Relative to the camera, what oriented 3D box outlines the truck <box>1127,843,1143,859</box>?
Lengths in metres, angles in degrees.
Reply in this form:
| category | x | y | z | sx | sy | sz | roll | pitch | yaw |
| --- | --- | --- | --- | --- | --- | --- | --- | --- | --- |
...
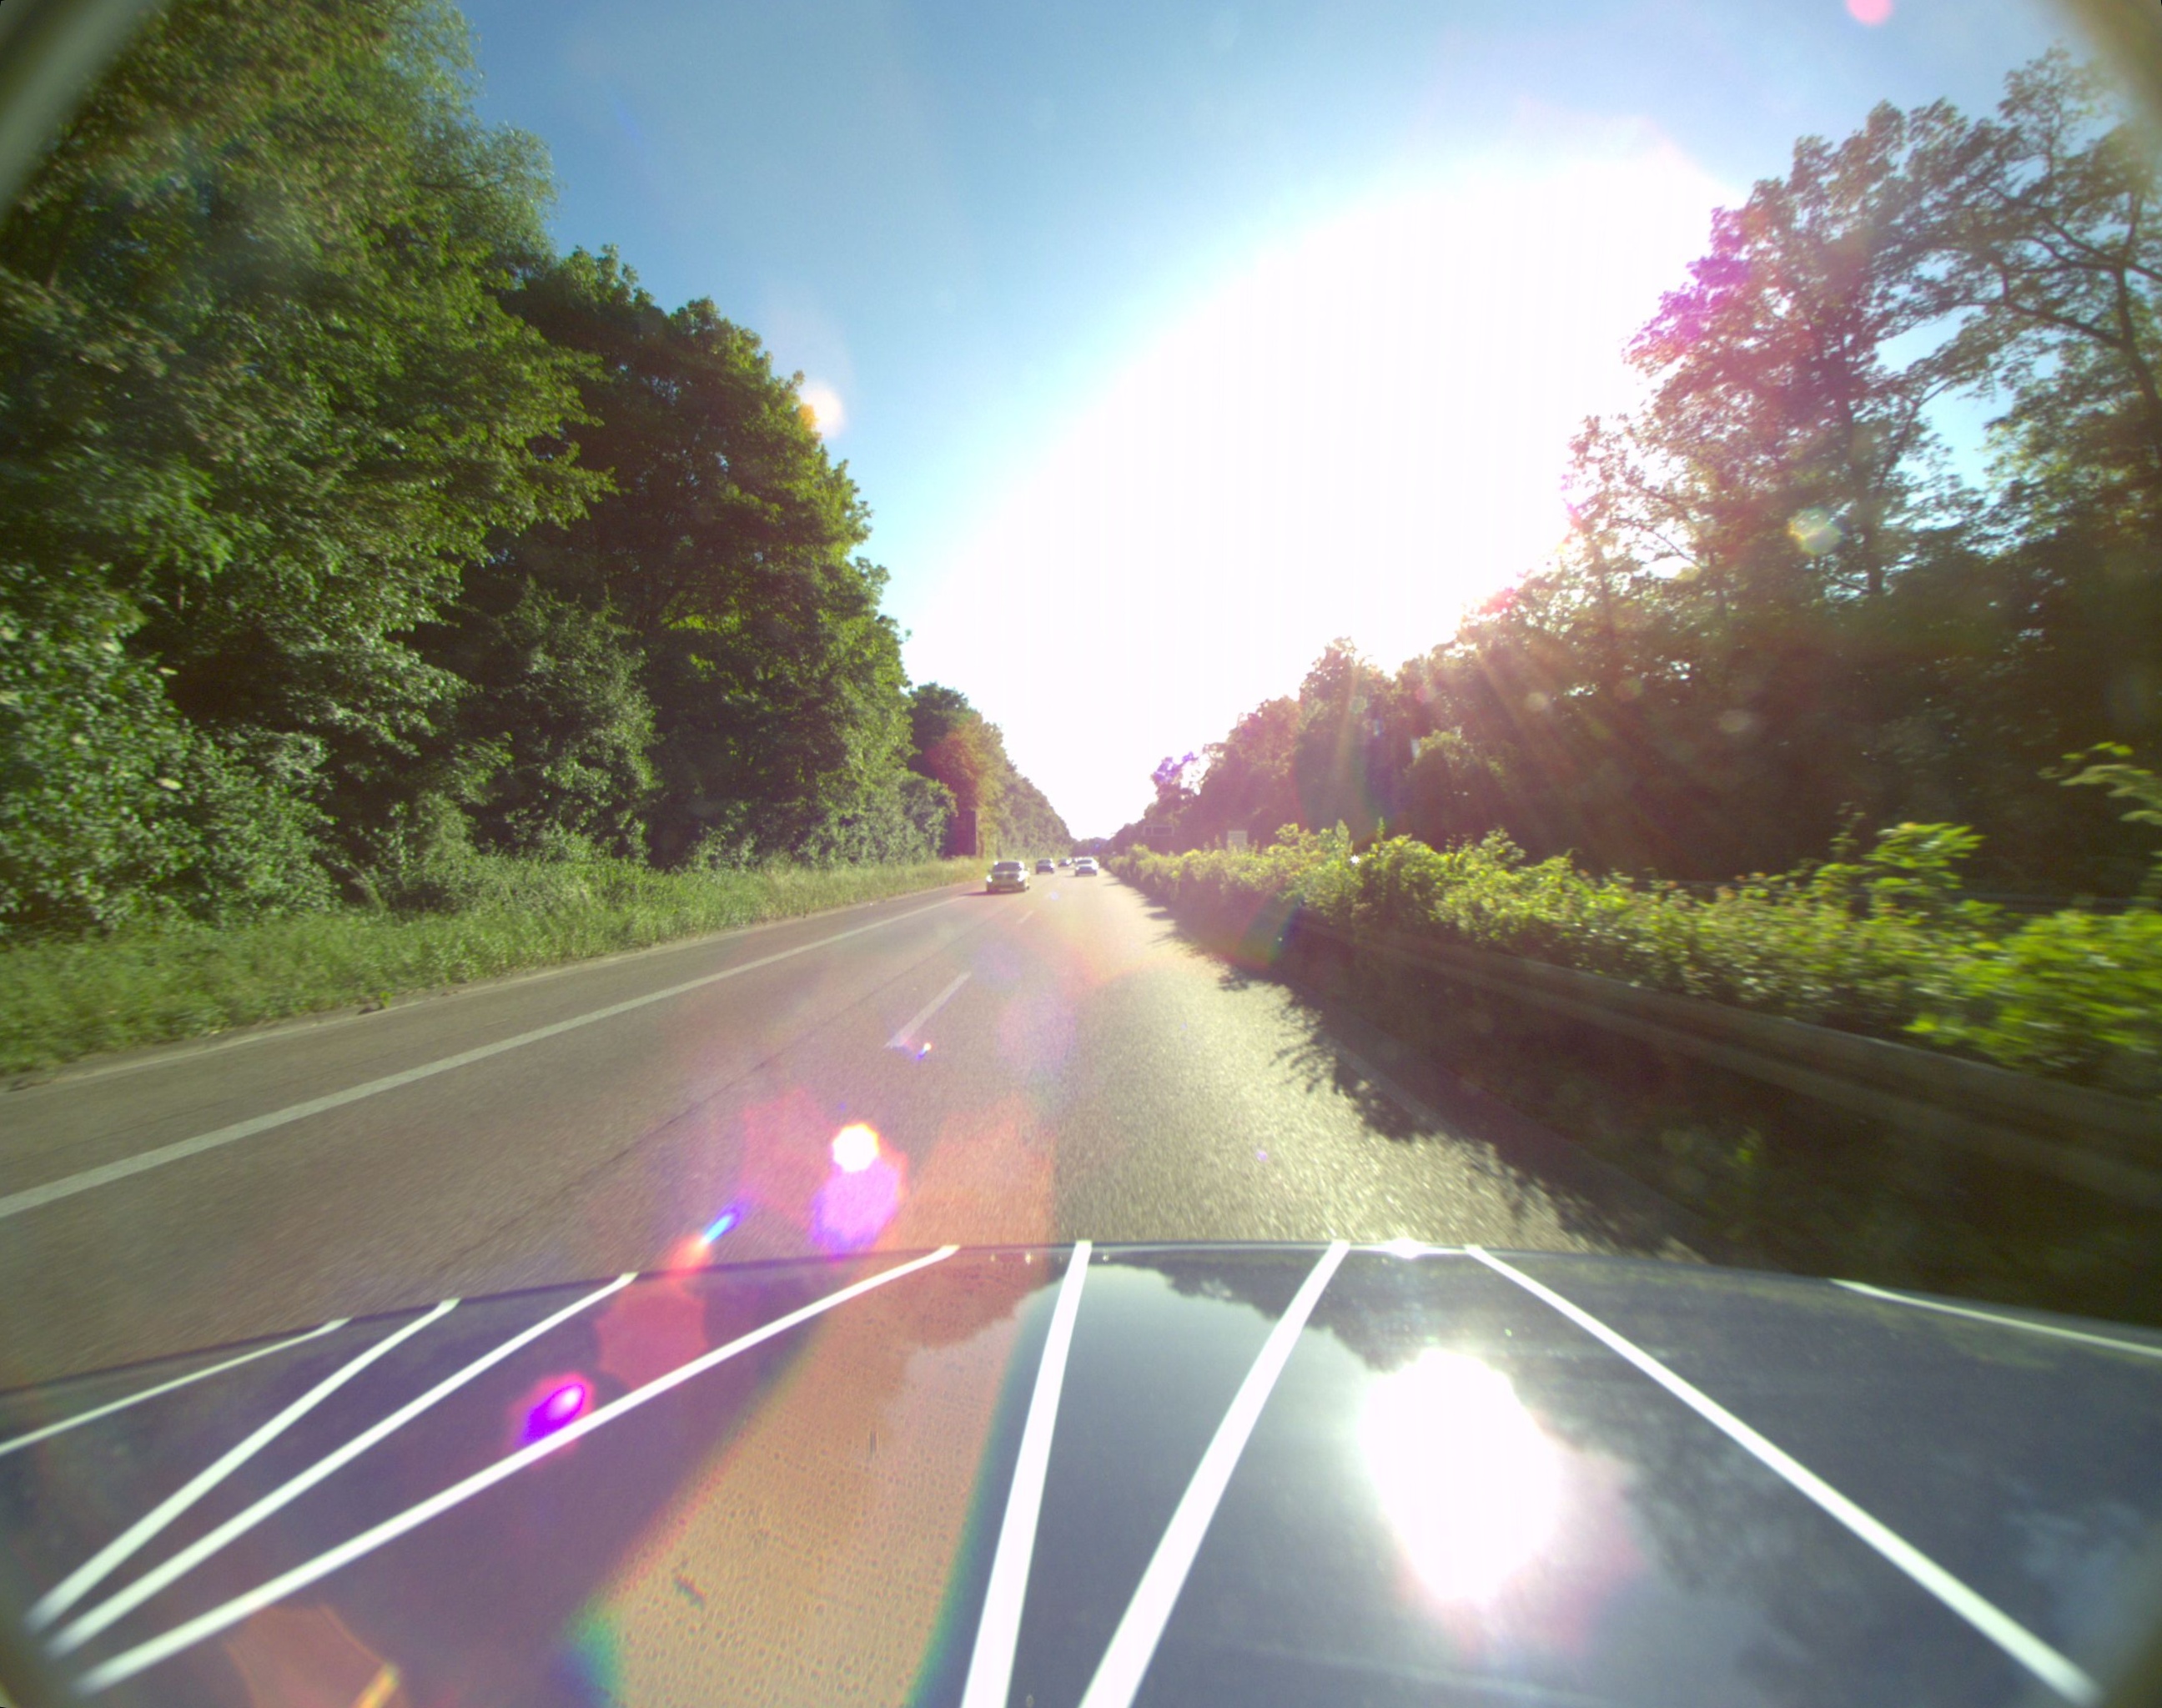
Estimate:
| category | x | y | z | sx | sy | sz | roll | pitch | yaw |
| --- | --- | --- | --- | --- | --- | --- | --- | --- | --- |
| truck | 14.522 | -0.890 | 205.290 | 3.251 | 3.989 | 14.450 | -2 | 0 | 1 |

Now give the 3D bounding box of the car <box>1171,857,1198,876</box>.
| category | x | y | z | sx | sy | sz | roll | pitch | yaw |
| --- | --- | --- | --- | --- | --- | --- | --- | --- | --- |
| car | 9.253 | 1.089 | 68.244 | 1.717 | 1.595 | 4.585 | -2 | 1 | 1 |

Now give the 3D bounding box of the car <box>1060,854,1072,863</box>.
| category | x | y | z | sx | sy | sz | roll | pitch | yaw |
| --- | --- | --- | --- | --- | --- | --- | --- | --- | --- |
| car | -2.487 | 0.673 | 126.898 | 1.795 | 1.440 | 3.877 | -2 | 0 | 0 |

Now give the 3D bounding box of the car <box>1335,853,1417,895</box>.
| category | x | y | z | sx | sy | sz | roll | pitch | yaw |
| --- | --- | --- | --- | --- | --- | --- | --- | --- | --- |
| car | 12.271 | 0.787 | 31.861 | 1.851 | 1.565 | 3.999 | -2 | 1 | 1 |

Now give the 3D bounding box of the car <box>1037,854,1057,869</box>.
| category | x | y | z | sx | sy | sz | roll | pitch | yaw |
| --- | --- | --- | --- | --- | --- | --- | --- | --- | --- |
| car | -3.426 | 0.711 | 77.028 | 1.795 | 1.440 | 3.877 | -2 | 0 | 0 |

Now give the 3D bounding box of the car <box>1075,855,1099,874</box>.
| category | x | y | z | sx | sy | sz | roll | pitch | yaw |
| --- | --- | --- | --- | --- | --- | --- | --- | --- | --- |
| car | 0.512 | 0.885 | 63.417 | 1.890 | 1.440 | 3.878 | -2 | 0 | 1 |

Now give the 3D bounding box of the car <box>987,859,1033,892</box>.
| category | x | y | z | sx | sy | sz | roll | pitch | yaw |
| --- | --- | --- | --- | --- | --- | --- | --- | --- | --- |
| car | -3.380 | 0.999 | 36.828 | 1.795 | 1.440 | 3.877 | -2 | 0 | 0 |
